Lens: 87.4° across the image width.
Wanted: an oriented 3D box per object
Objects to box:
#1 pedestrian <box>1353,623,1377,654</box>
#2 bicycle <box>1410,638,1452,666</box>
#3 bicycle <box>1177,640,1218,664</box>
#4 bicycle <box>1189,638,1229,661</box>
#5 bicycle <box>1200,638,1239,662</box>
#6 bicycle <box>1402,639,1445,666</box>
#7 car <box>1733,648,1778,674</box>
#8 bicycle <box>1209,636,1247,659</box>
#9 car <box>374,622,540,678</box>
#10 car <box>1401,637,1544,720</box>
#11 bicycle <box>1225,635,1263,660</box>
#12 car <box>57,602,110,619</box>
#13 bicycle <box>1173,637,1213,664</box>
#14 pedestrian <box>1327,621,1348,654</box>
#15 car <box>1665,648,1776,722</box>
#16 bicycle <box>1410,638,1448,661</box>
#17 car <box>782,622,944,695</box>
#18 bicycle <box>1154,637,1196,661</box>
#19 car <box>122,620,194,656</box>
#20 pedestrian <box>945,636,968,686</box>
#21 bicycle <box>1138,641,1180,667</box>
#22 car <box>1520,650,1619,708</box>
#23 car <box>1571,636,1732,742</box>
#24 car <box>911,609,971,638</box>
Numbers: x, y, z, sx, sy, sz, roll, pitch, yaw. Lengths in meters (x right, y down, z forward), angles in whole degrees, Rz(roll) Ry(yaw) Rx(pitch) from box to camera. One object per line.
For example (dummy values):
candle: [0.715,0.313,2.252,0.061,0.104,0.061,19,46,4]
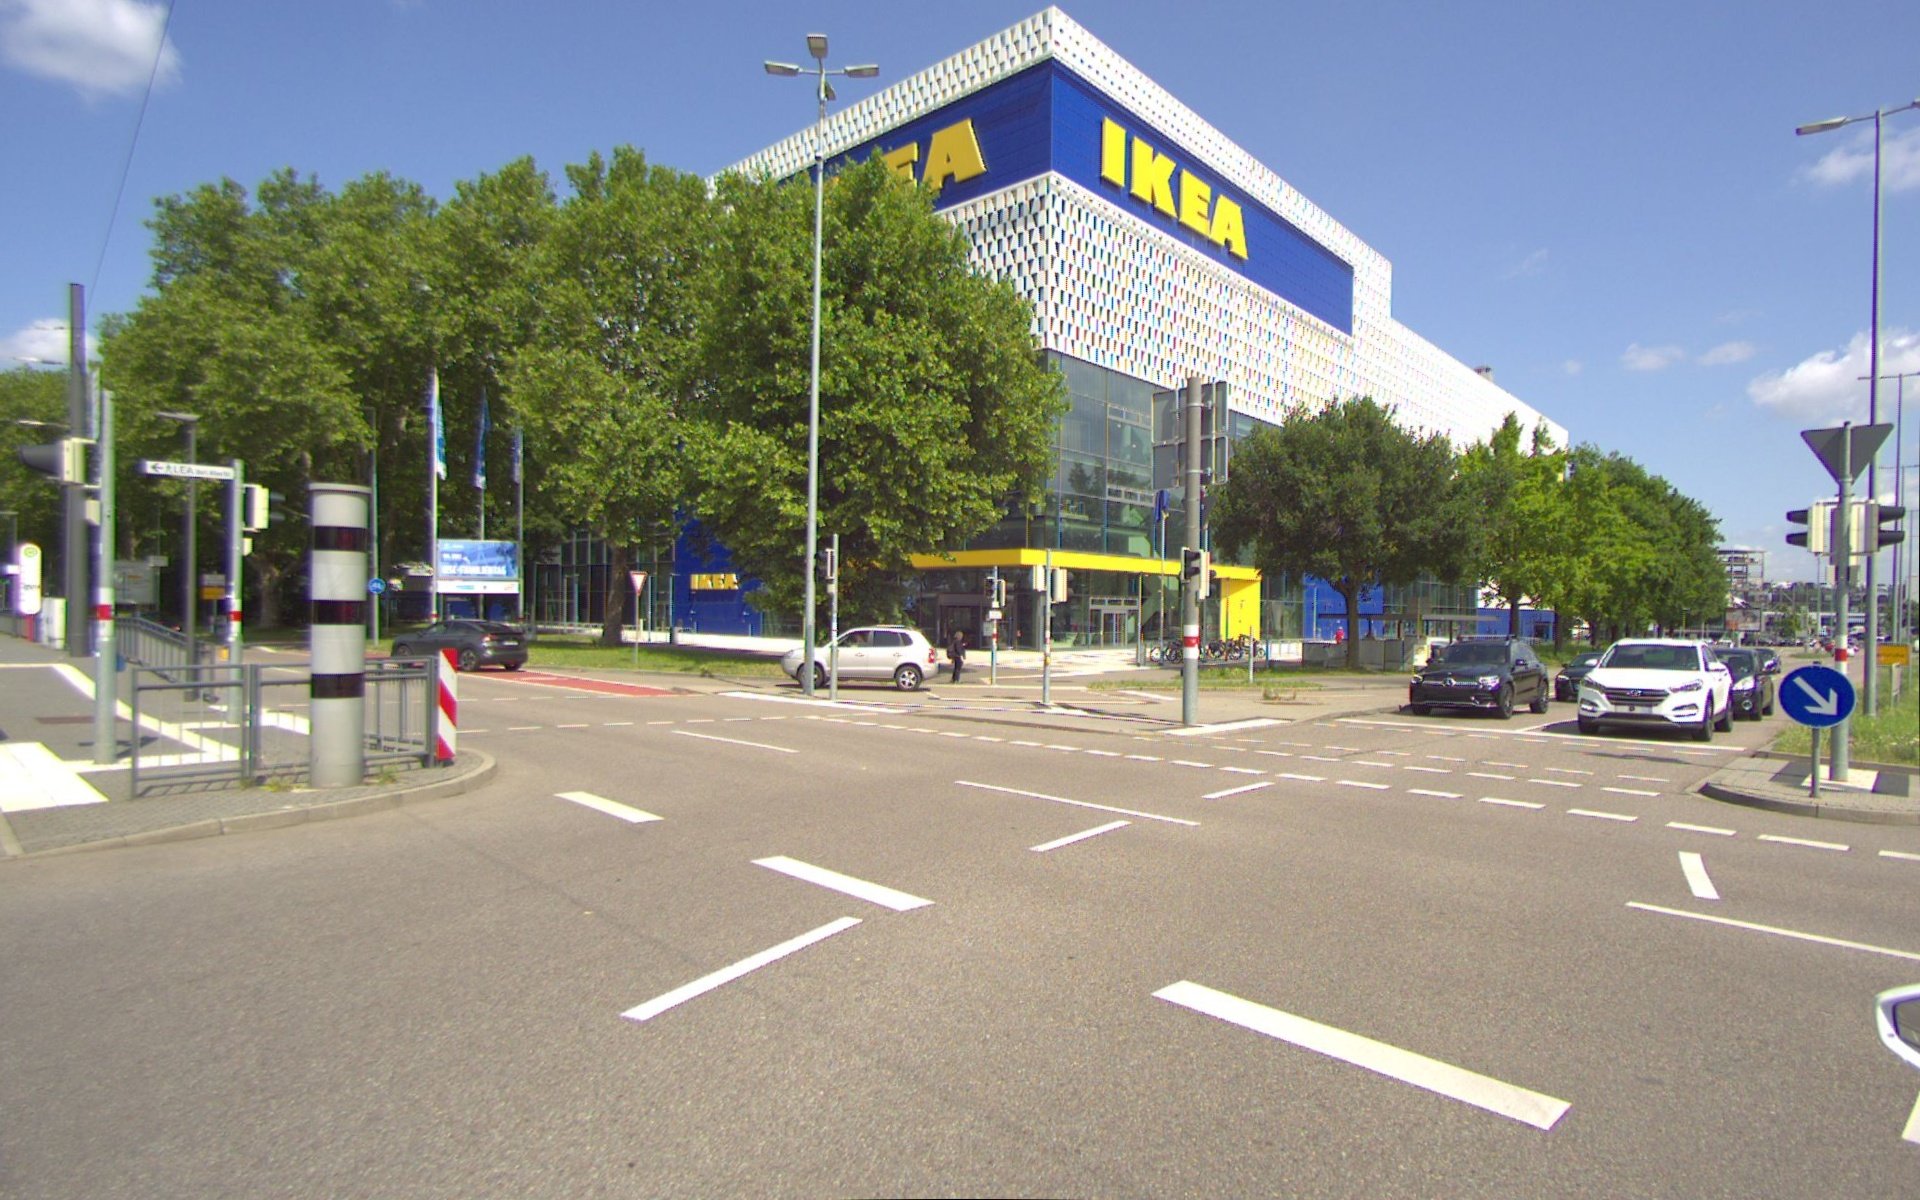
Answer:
pedestrian: [23.026,2.187,57.106,0.940,1.725,0.881,3,0,44]
bicycle: [24.664,2.712,52.613,1.905,1.290,0.626,2,1,45]
bicycle: [11.828,2.590,50.007,1.911,1.084,0.526,2,-1,41]
bicycle: [12.713,2.535,51.290,1.911,1.084,0.526,2,-1,41]
bicycle: [13.443,2.581,52.134,1.907,1.104,0.518,2,1,41]
bicycle: [23.927,2.691,51.881,1.905,1.290,0.626,2,1,45]
car: [46.343,3.528,58.491,1.646,1.440,4.493,-1,-3,43]
bicycle: [14.146,2.510,53.039,1.911,1.084,0.526,2,-1,41]
car: [-15.054,1.457,30.133,4.165,1.396,2.023,2,0,16]
car: [11.247,1.691,21.932,1.751,1.636,3.978,-2,-4,43]
bicycle: [15.321,2.547,54.268,1.911,1.225,0.526,2,-1,41]
car: [-84.375,1.007,96.769,1.964,1.483,3.994,2,-1,-9]
bicycle: [11.494,2.476,49.565,1.933,1.188,0.465,2,1,41]
pedestrian: [21.888,2.191,58.210,0.746,1.847,0.881,3,0,44]
car: [17.310,1.872,22.803,1.587,1.513,4.109,-1,-3,43]
bicycle: [27.216,2.870,58.328,1.905,1.199,0.626,2,1,45]
car: [-2.603,1.559,27.350,4.170,1.746,2.021,2,0,-5]
bicycle: [10.437,2.377,48.814,1.911,1.084,0.526,2,-1,41]
car: [-38.398,1.807,48.072,3.941,1.617,1.990,0,-2,41]
pedestrian: [-0.099,1.866,30.944,0.430,1.510,0.619,2,0,28]
bicycle: [9.436,2.556,47.644,1.911,1.084,0.526,2,-1,41]
car: [16.240,2.048,26.703,1.397,1.410,4.072,-2,-3,44]
car: [12.350,1.516,17.826,1.690,1.641,4.352,-1,-4,44]
car: [-1.453,1.713,74.218,4.139,2.040,1.991,0,-2,40]
